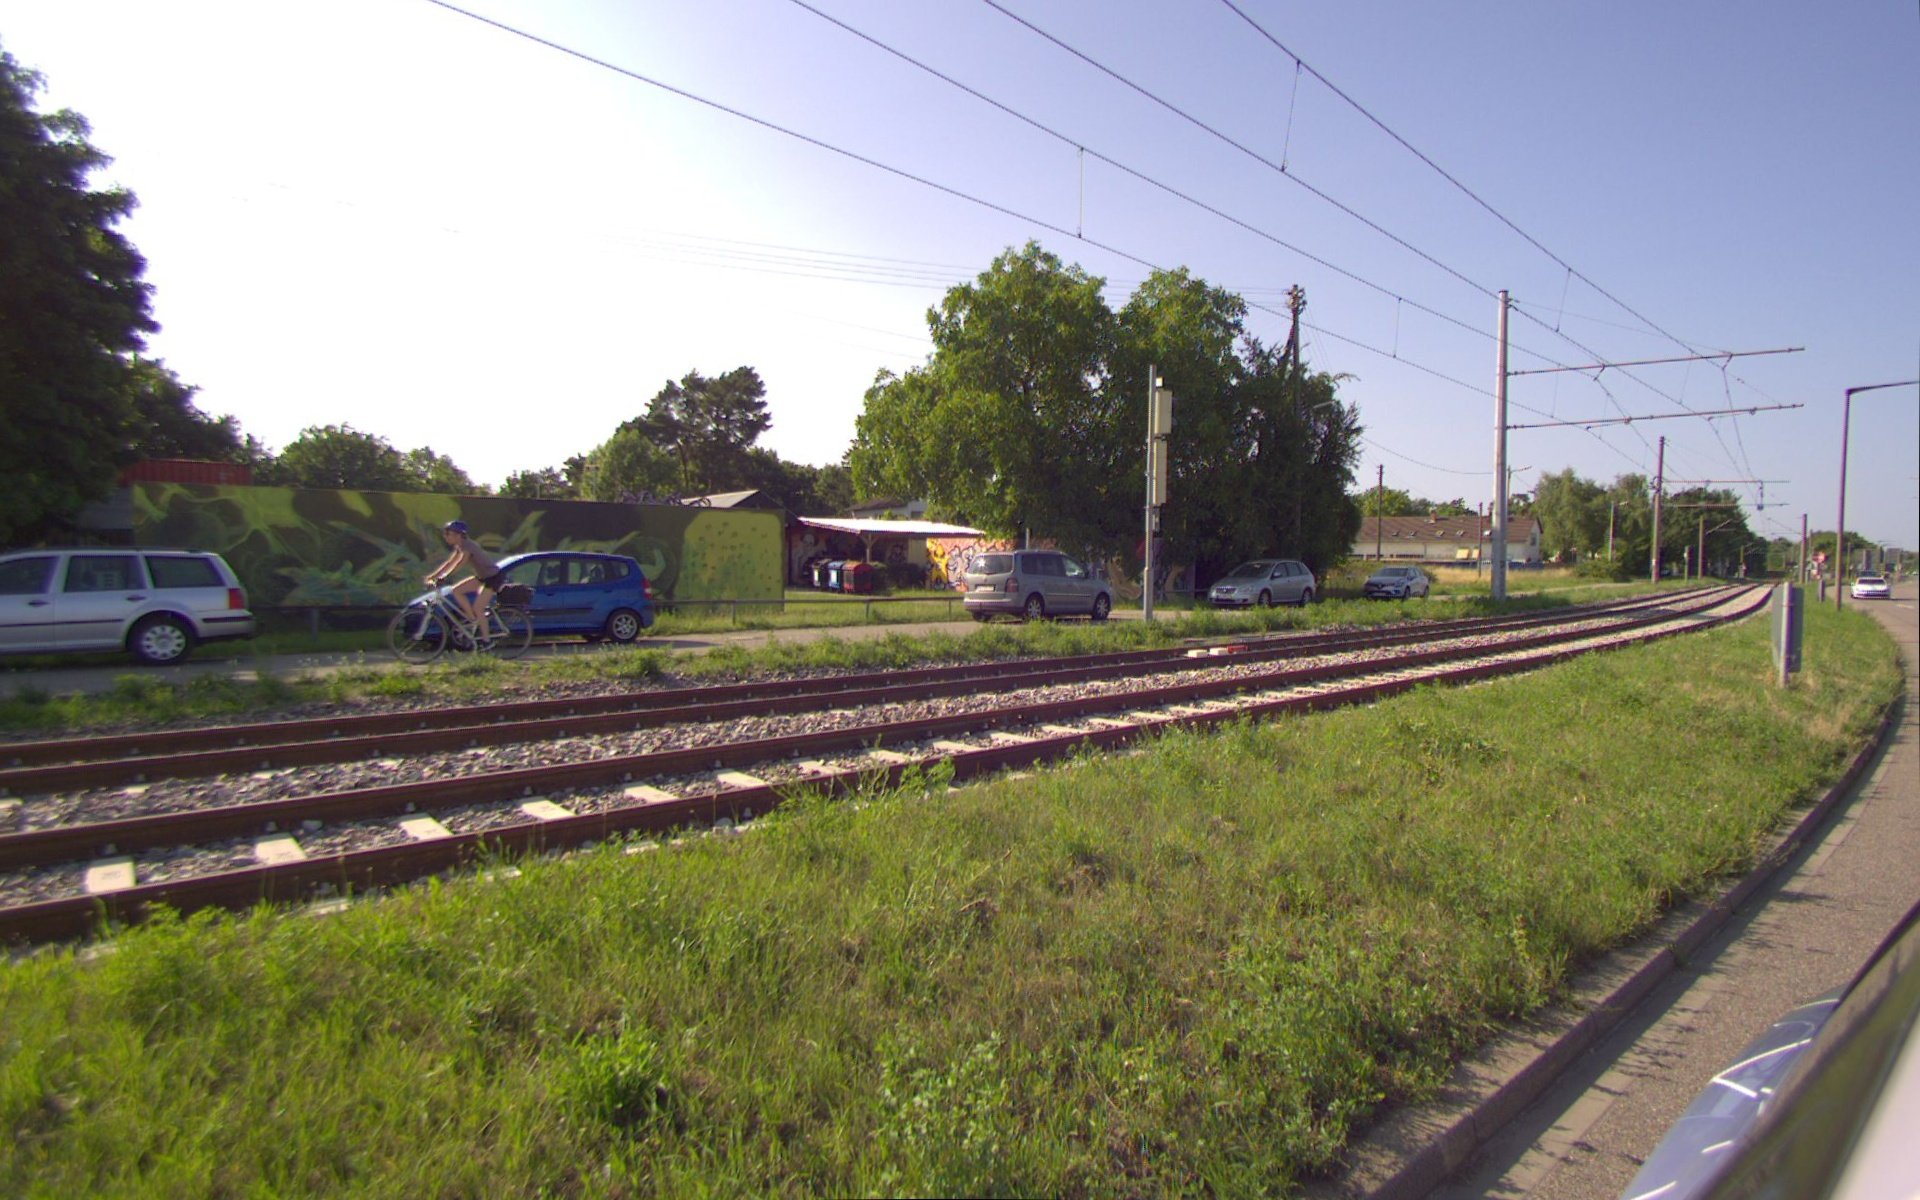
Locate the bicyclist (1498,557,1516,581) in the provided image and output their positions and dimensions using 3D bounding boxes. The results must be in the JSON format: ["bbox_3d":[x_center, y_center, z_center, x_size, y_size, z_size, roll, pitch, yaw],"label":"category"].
[{"bbox_3d":[28.885,-1.640,53.422,0.639,1.248,0.779,1,1,43],"label":"bicyclist"}]

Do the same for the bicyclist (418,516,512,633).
[{"bbox_3d":[-6.380,-0.333,13.058,0.946,1.440,0.630,-1,1,-44],"label":"bicyclist"}]

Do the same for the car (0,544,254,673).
[{"bbox_3d":[-11.333,0.063,12.378,4.312,1.483,1.713,-1,2,-40],"label":"car"}]

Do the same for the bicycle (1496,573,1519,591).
[{"bbox_3d":[28.910,-0.948,53.459,0.642,0.921,1.785,1,2,43],"label":"bicycle"}]

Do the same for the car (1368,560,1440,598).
[{"bbox_3d":[18.250,-0.870,41.540,1.533,1.466,4.070,3,3,41],"label":"car"}]

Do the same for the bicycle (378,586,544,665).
[{"bbox_3d":[-6.403,0.295,13.045,1.813,0.921,0.643,-1,2,-44],"label":"bicycle"}]

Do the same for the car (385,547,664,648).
[{"bbox_3d":[-6.940,-0.056,16.296,3.840,1.448,1.682,-1,0,-39],"label":"car"}]

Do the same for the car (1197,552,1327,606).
[{"bbox_3d":[9.854,-0.711,32.796,4.647,1.609,1.910,-1,3,-43],"label":"car"}]

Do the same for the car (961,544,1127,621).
[{"bbox_3d":[2.070,-0.439,23.875,1.522,1.630,4.415,3,3,42],"label":"car"}]

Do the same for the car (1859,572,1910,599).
[{"bbox_3d":[59.271,-0.941,64.978,1.958,1.638,4.251,1,2,37],"label":"car"}]
